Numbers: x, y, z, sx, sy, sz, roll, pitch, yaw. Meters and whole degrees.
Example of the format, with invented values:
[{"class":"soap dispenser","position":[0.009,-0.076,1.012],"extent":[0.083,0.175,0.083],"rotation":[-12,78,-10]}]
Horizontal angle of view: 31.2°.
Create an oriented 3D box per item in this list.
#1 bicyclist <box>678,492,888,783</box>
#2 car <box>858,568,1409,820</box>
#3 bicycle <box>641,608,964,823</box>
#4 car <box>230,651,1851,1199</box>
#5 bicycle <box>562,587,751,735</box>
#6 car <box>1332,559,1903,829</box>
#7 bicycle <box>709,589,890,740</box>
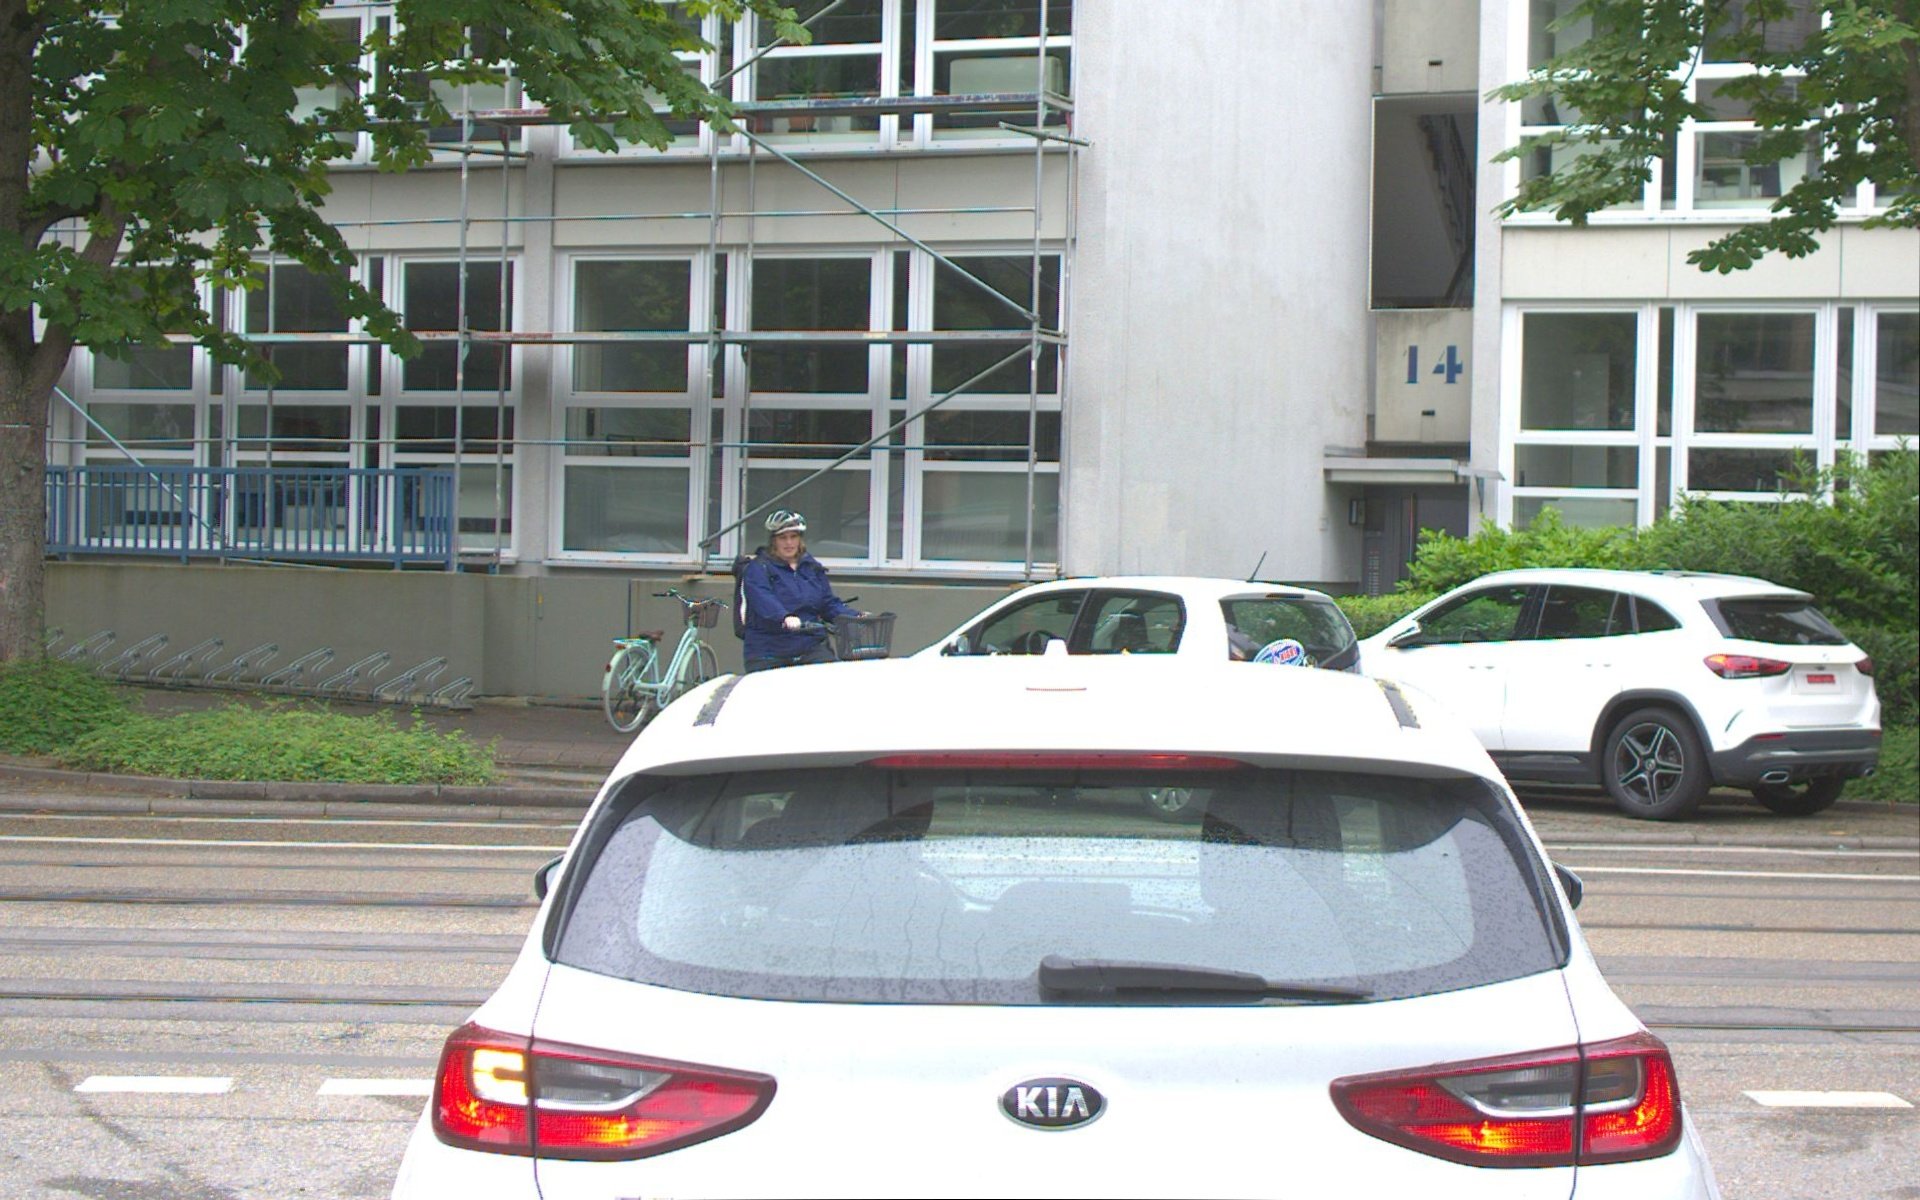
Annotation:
[{"class":"bicyclist","position":[-1.065,0.211,20.682],"extent":[0.896,1.692,0.832],"rotation":[2,1,45]},{"class":"car","position":[1.067,0.552,22.251],"extent":[1.552,1.468,3.406],"rotation":[0,1,-44]},{"class":"bicycle","position":[-0.959,0.663,20.567],"extent":[1.914,1.170,0.819],"rotation":[2,1,44]},{"class":"car","position":[0.165,0.820,5.759],"extent":[1.775,1.428,3.978],"rotation":[1,-1,3]},{"class":"bicycle","position":[-2.497,0.482,28.587],"extent":[0.645,1.071,2.310],"rotation":[2,3,20]},{"class":"car","position":[4.275,0.559,22.651],"extent":[1.552,1.612,3.406],"rotation":[0,1,-44]},{"class":"bicycle","position":[-1.289,0.503,28.154],"extent":[0.645,1.071,2.310],"rotation":[2,3,20]}]
